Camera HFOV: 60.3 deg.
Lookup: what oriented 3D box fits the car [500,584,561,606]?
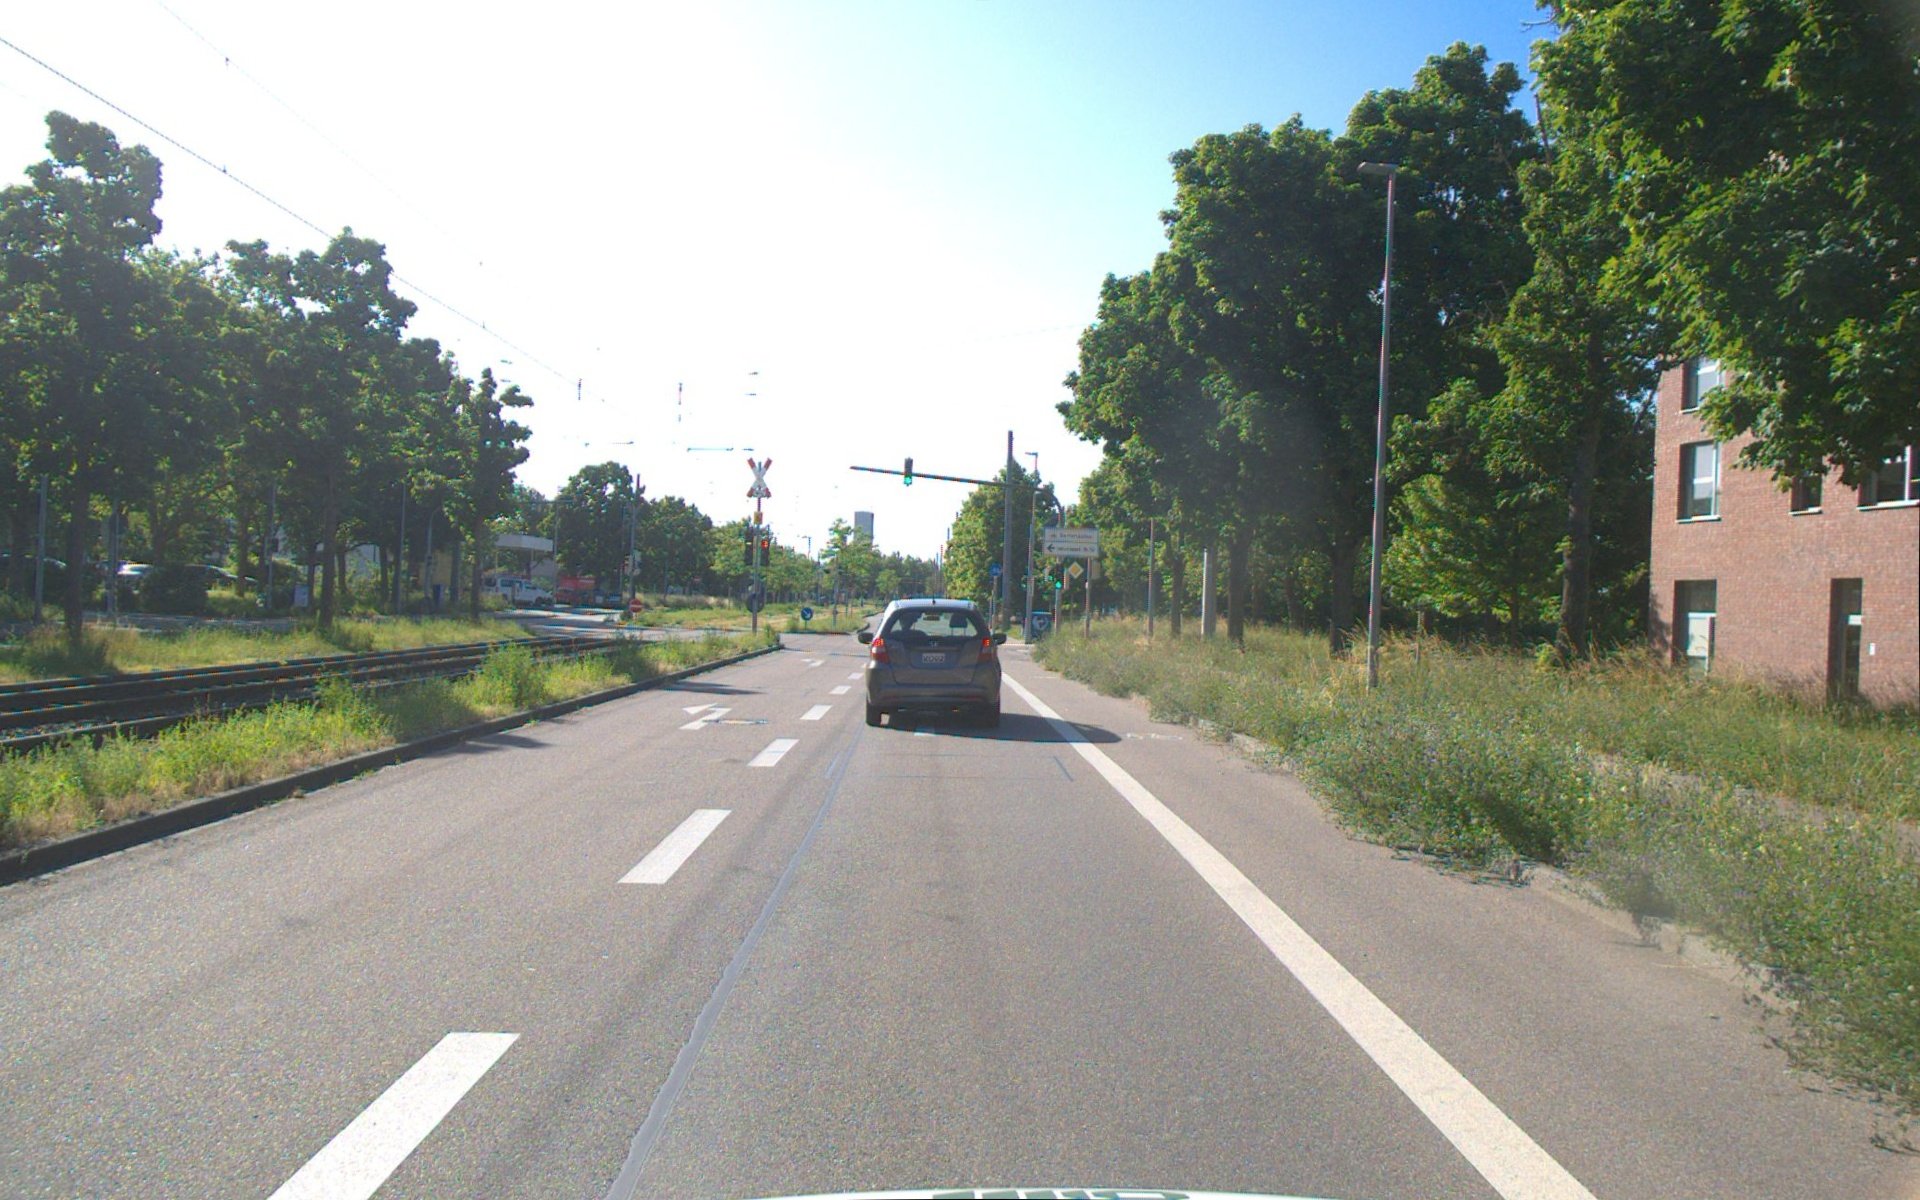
[{"bbox_3d":[-33.024,-0.370,127.153,1.756,1.554,4.454,2,0,35],"label":"car"}]

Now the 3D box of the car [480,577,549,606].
[{"bbox_3d":[-32.974,-0.617,122.474,1.825,2.008,4.764,2,0,38],"label":"car"}]

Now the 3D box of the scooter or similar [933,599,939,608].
[{"bbox_3d":[-2.945,0.409,202.039,0.528,1.138,1.416,2,0,-4],"label":"scooter or similar"}]

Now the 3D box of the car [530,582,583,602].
[{"bbox_3d":[-33.935,-0.673,139.097,3.991,1.596,1.790,2,0,-5],"label":"car"}]

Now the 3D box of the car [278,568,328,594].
[{"bbox_3d":[-43.640,-1.265,109.873,1.545,1.571,4.089,3,0,1],"label":"car"}]

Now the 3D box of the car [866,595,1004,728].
[{"bbox_3d":[-0.290,0.727,21.124,1.591,1.526,3.456,1,0,0],"label":"car"}]

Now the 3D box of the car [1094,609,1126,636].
[{"bbox_3d":[12.045,1.802,133.318,1.834,2.001,5.164,3,0,-2],"label":"car"}]

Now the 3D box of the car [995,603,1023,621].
[{"bbox_3d":[3.928,0.937,133.188,1.739,1.411,3.866,1,0,-5],"label":"car"}]

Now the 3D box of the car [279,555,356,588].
[{"bbox_3d":[-45.496,-1.995,117.183,4.628,2.128,2.019,2,0,-4],"label":"car"}]

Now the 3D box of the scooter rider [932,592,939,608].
[{"bbox_3d":[-2.980,0.021,201.959,0.702,1.934,0.934,2,-1,-4],"label":"scooter rider"}]
